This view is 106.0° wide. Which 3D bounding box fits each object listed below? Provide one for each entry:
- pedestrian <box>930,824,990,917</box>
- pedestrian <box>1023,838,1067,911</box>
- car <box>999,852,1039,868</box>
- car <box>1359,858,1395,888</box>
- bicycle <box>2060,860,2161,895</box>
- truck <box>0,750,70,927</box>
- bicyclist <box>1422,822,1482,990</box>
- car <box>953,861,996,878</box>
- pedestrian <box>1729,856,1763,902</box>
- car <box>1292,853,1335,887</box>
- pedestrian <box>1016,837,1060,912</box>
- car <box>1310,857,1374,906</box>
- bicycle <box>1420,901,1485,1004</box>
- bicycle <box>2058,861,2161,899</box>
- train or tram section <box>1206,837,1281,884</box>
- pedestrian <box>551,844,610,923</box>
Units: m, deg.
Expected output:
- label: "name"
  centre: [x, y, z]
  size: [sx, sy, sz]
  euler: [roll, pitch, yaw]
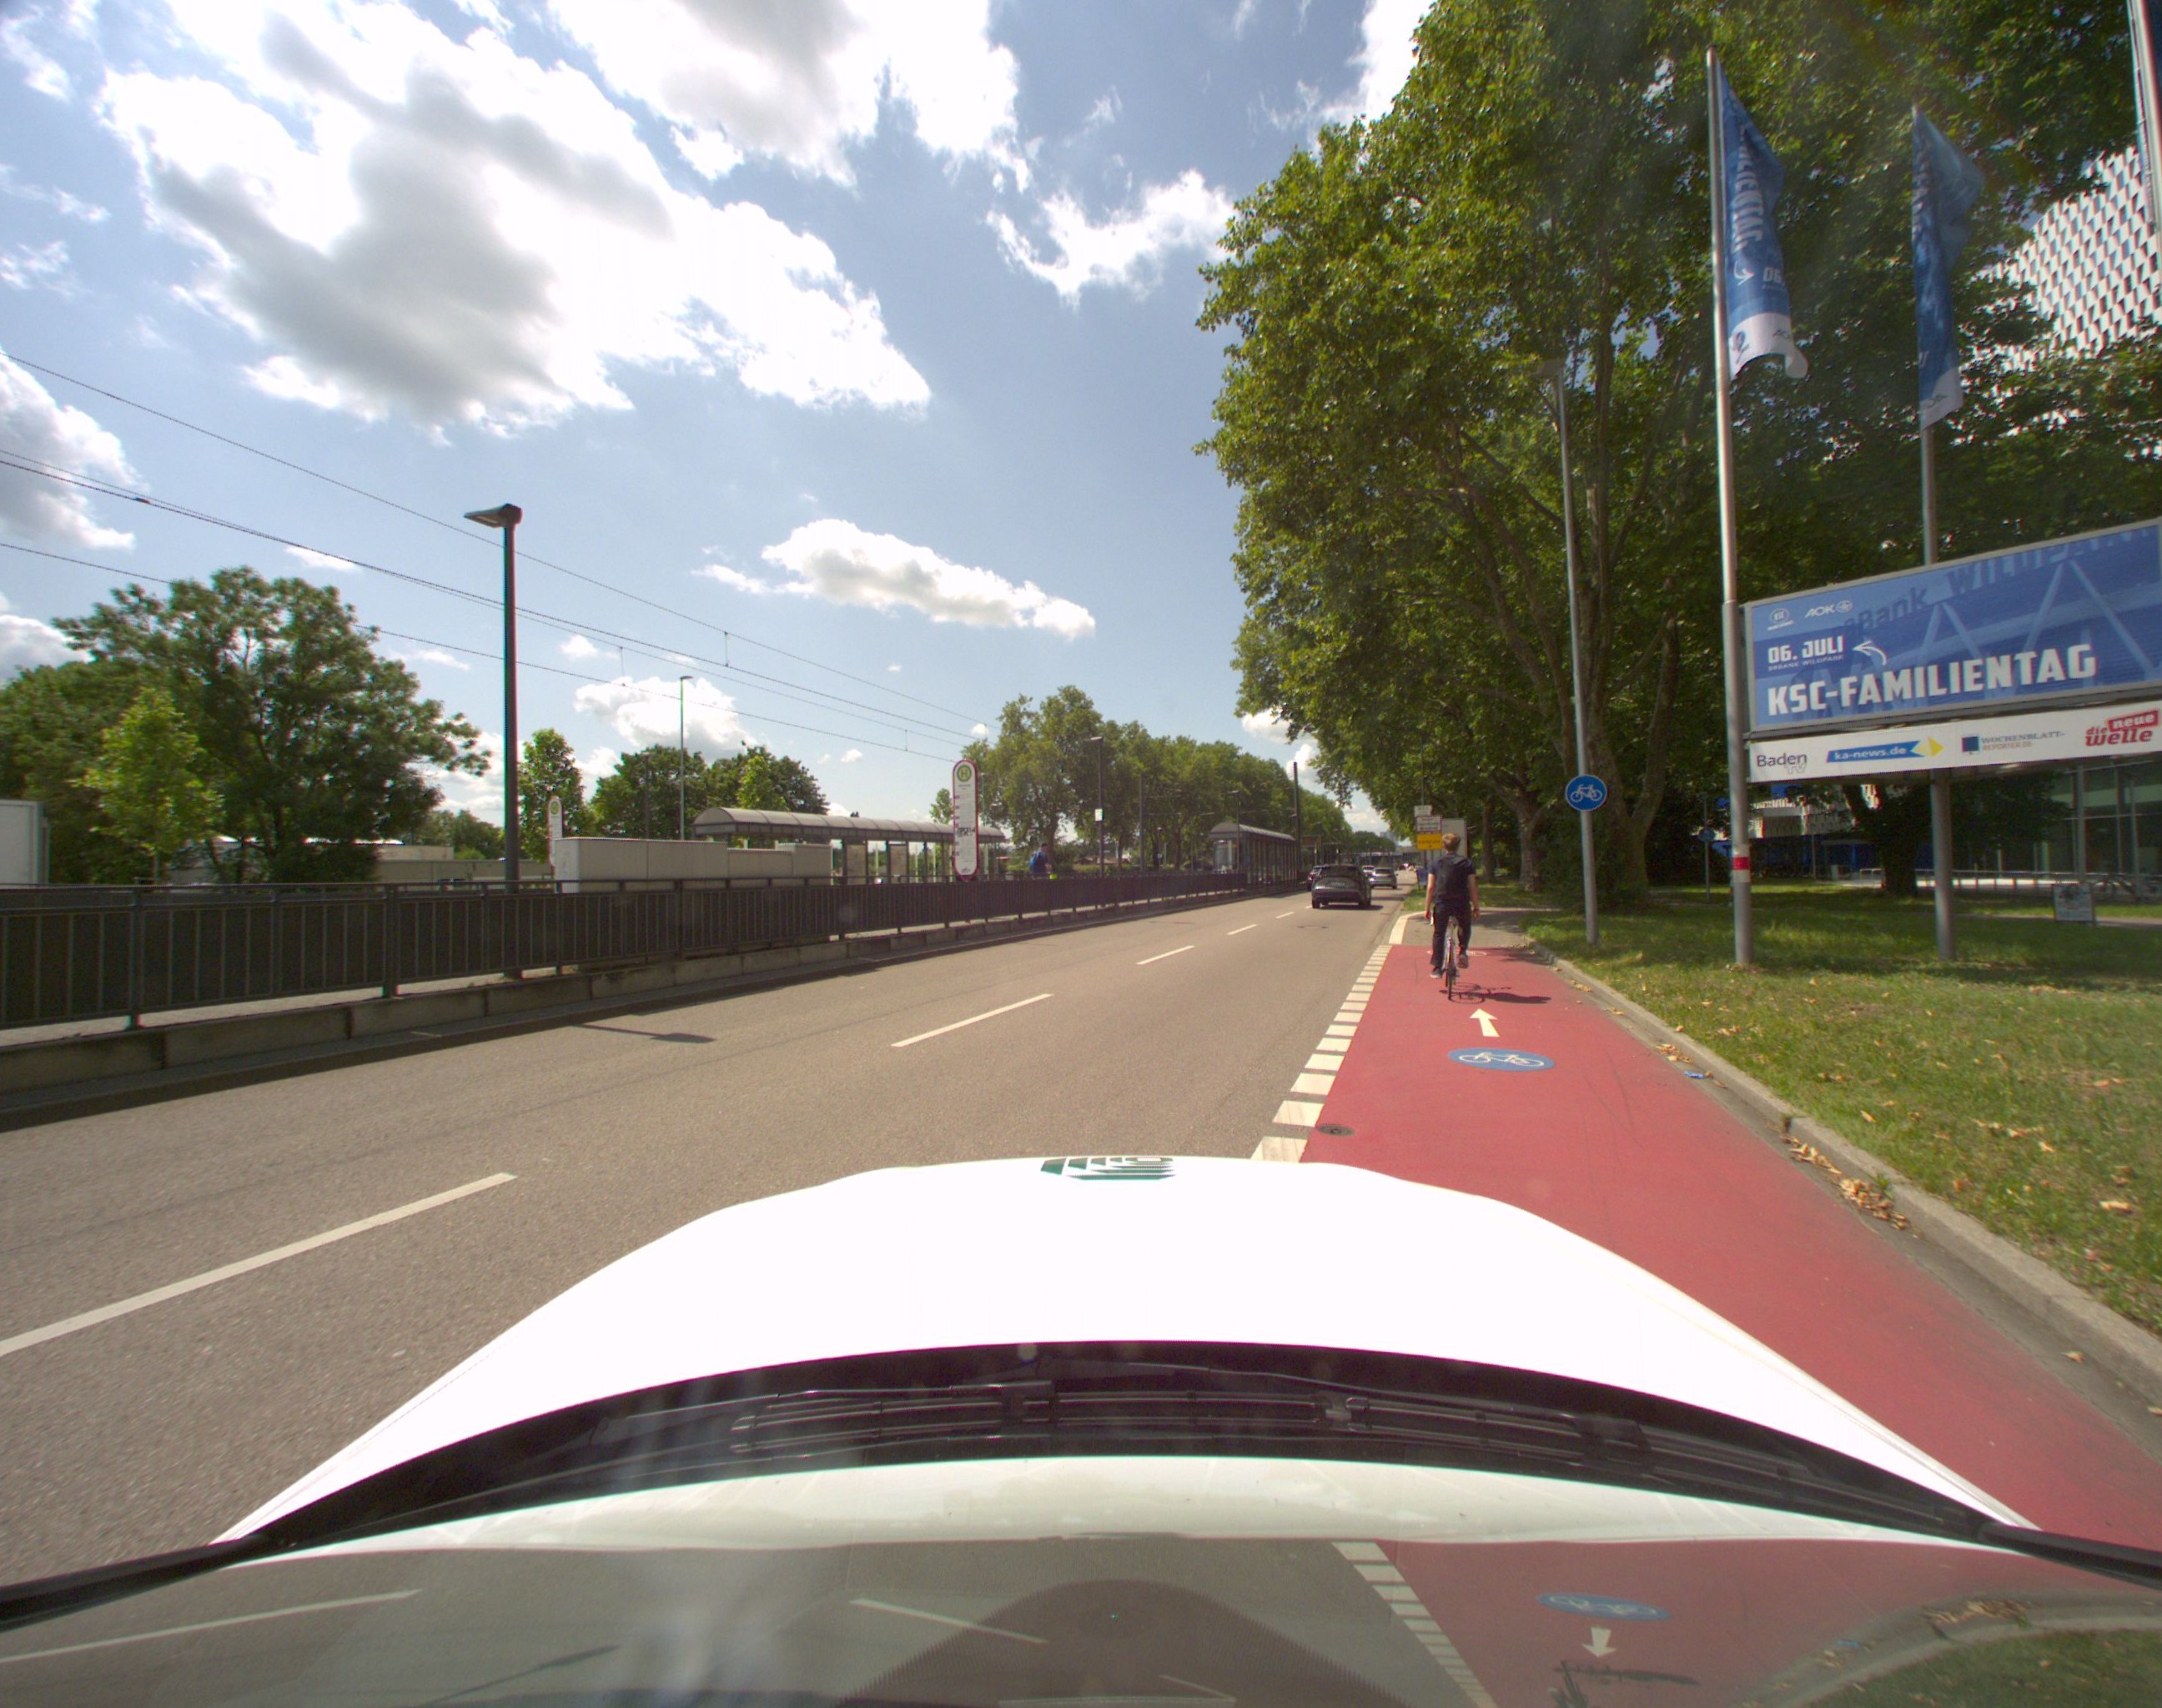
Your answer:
- label: "pedestrian"
  centre: [-2.606, 0.351, 17.617]
  size: [0.865, 1.939, 1.000]
  euler: [-1, 0, 23]
- label: "pedestrian"
  centre: [-0.882, 0.496, 19.970]
  size: [0.727, 1.756, 0.935]
  euler: [-1, -1, 24]
- label: "car"
  centre: [-6.744, 0.639, 89.160]
  size: [3.879, 1.662, 1.921]
  euler: [-1, 0, 25]
- label: "car"
  centre: [20.432, 1.284, 56.080]
  size: [1.975, 1.989, 4.388]
  euler: [-1, 0, 24]
- label: "bicycle"
  centre: [34.946, 0.791, 27.241]
  size: [0.901, 1.121, 2.745]
  euler: [0, -2, -42]
- label: "truck"
  centre: [-28.314, -0.377, 14.801]
  size: [2.917, 4.105, 12.062]
  euler: [-1, -1, 23]
- label: "bicyclist"
  centre: [4.319, 0.570, 9.490]
  size: [0.604, 1.846, 0.929]
  euler: [0, 0, 24]
- label: "car"
  centre: [-10.751, 1.538, 82.093]
  size: [3.879, 1.662, 1.921]
  euler: [-1, 0, 25]
- label: "pedestrian"
  centre: [24.680, 0.919, 30.240]
  size: [0.768, 1.696, 0.896]
  euler: [-1, -1, 24]
- label: "car"
  centre: [14.460, 0.976, 50.457]
  size: [1.976, 1.989, 4.387]
  euler: [0, 0, 23]
- label: "pedestrian"
  centre: [-1.056, 0.493, 19.995]
  size: [0.727, 1.807, 0.935]
  euler: [-1, -1, 24]
- label: "car"
  centre: [9.779, 1.045, 30.294]
  size: [1.881, 1.675, 4.543]
  euler: [-1, -3, 22]
- label: "bicycle"
  centre: [4.346, 1.085, 9.538]
  size: [0.614, 0.999, 2.035]
  euler: [0, -1, 24]
- label: "bicycle"
  centre: [33.708, 0.813, 25.577]
  size: [0.992, 1.176, 3.792]
  euler: [-1, -2, -41]
- label: "train or tram section"
  centre: [12.652, 0.558, 62.140]
  size: [3.011, 3.186, 14.174]
  euler: [-1, -1, 22]
- label: "pedestrian"
  centre: [-11.910, 0.687, 19.388]
  size: [0.727, 1.807, 0.935]
  euler: [-1, -1, 24]
